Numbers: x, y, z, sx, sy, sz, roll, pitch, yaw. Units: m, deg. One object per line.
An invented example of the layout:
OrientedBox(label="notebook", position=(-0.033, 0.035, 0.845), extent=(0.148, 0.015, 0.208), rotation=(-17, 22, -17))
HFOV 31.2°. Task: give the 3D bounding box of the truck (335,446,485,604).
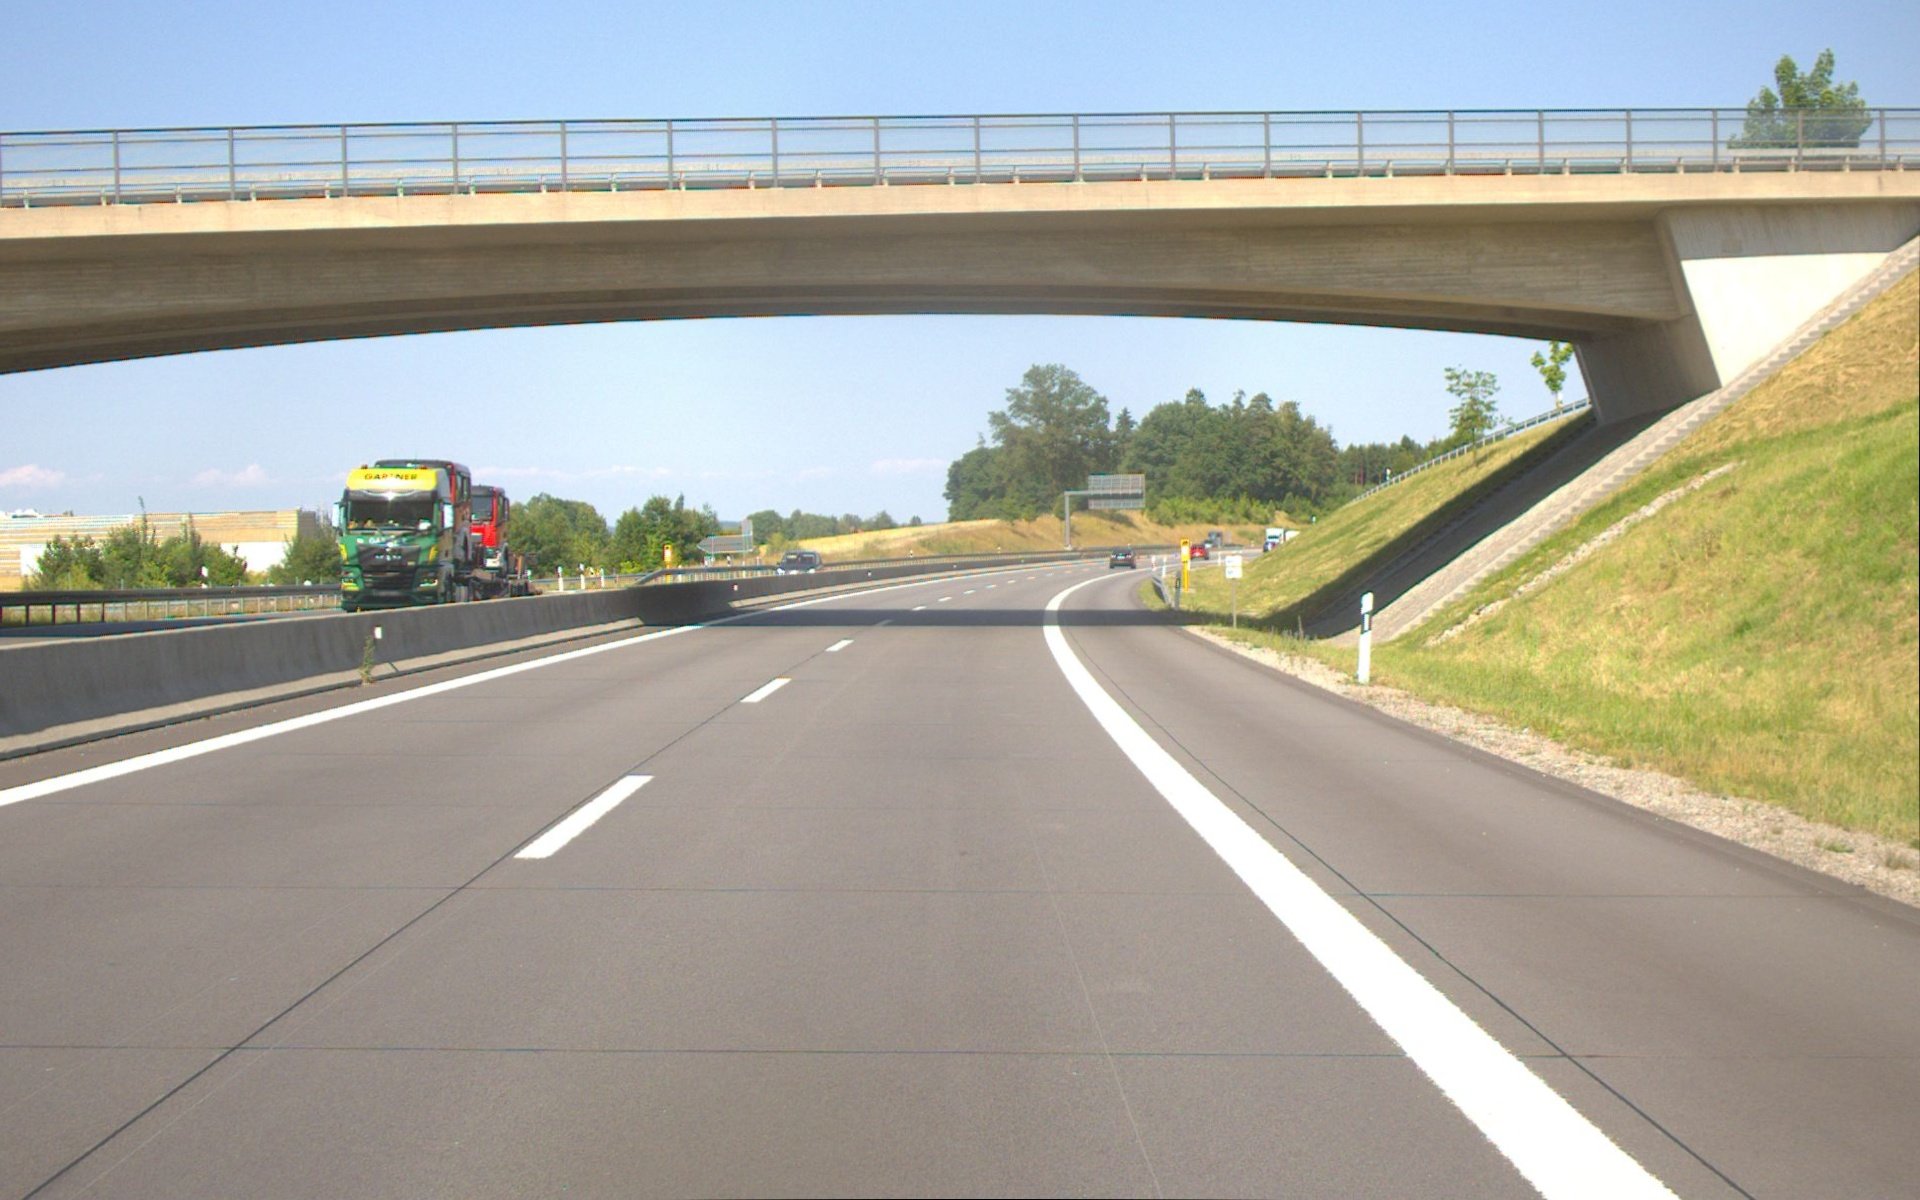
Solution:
OrientedBox(label="truck", position=(-13.767, -1.875, 86.381), extent=(2.735, 3.818, 5.831), rotation=(0, 1, 1))

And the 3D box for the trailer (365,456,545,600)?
OrientedBox(label="trailer", position=(-13.596, -1.936, 93.663), extent=(2.665, 3.645, 13.237), rotation=(0, 1, 1))

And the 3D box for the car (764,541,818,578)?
OrientedBox(label="car", position=(-7.521, -1.816, 153.182), extent=(2.069, 1.569, 4.927), rotation=(0, 1, 1))

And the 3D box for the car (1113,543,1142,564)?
OrientedBox(label="car", position=(12.045, -3.346, 246.973), extent=(1.994, 1.415, 4.000), rotation=(-2, 1, 4))
